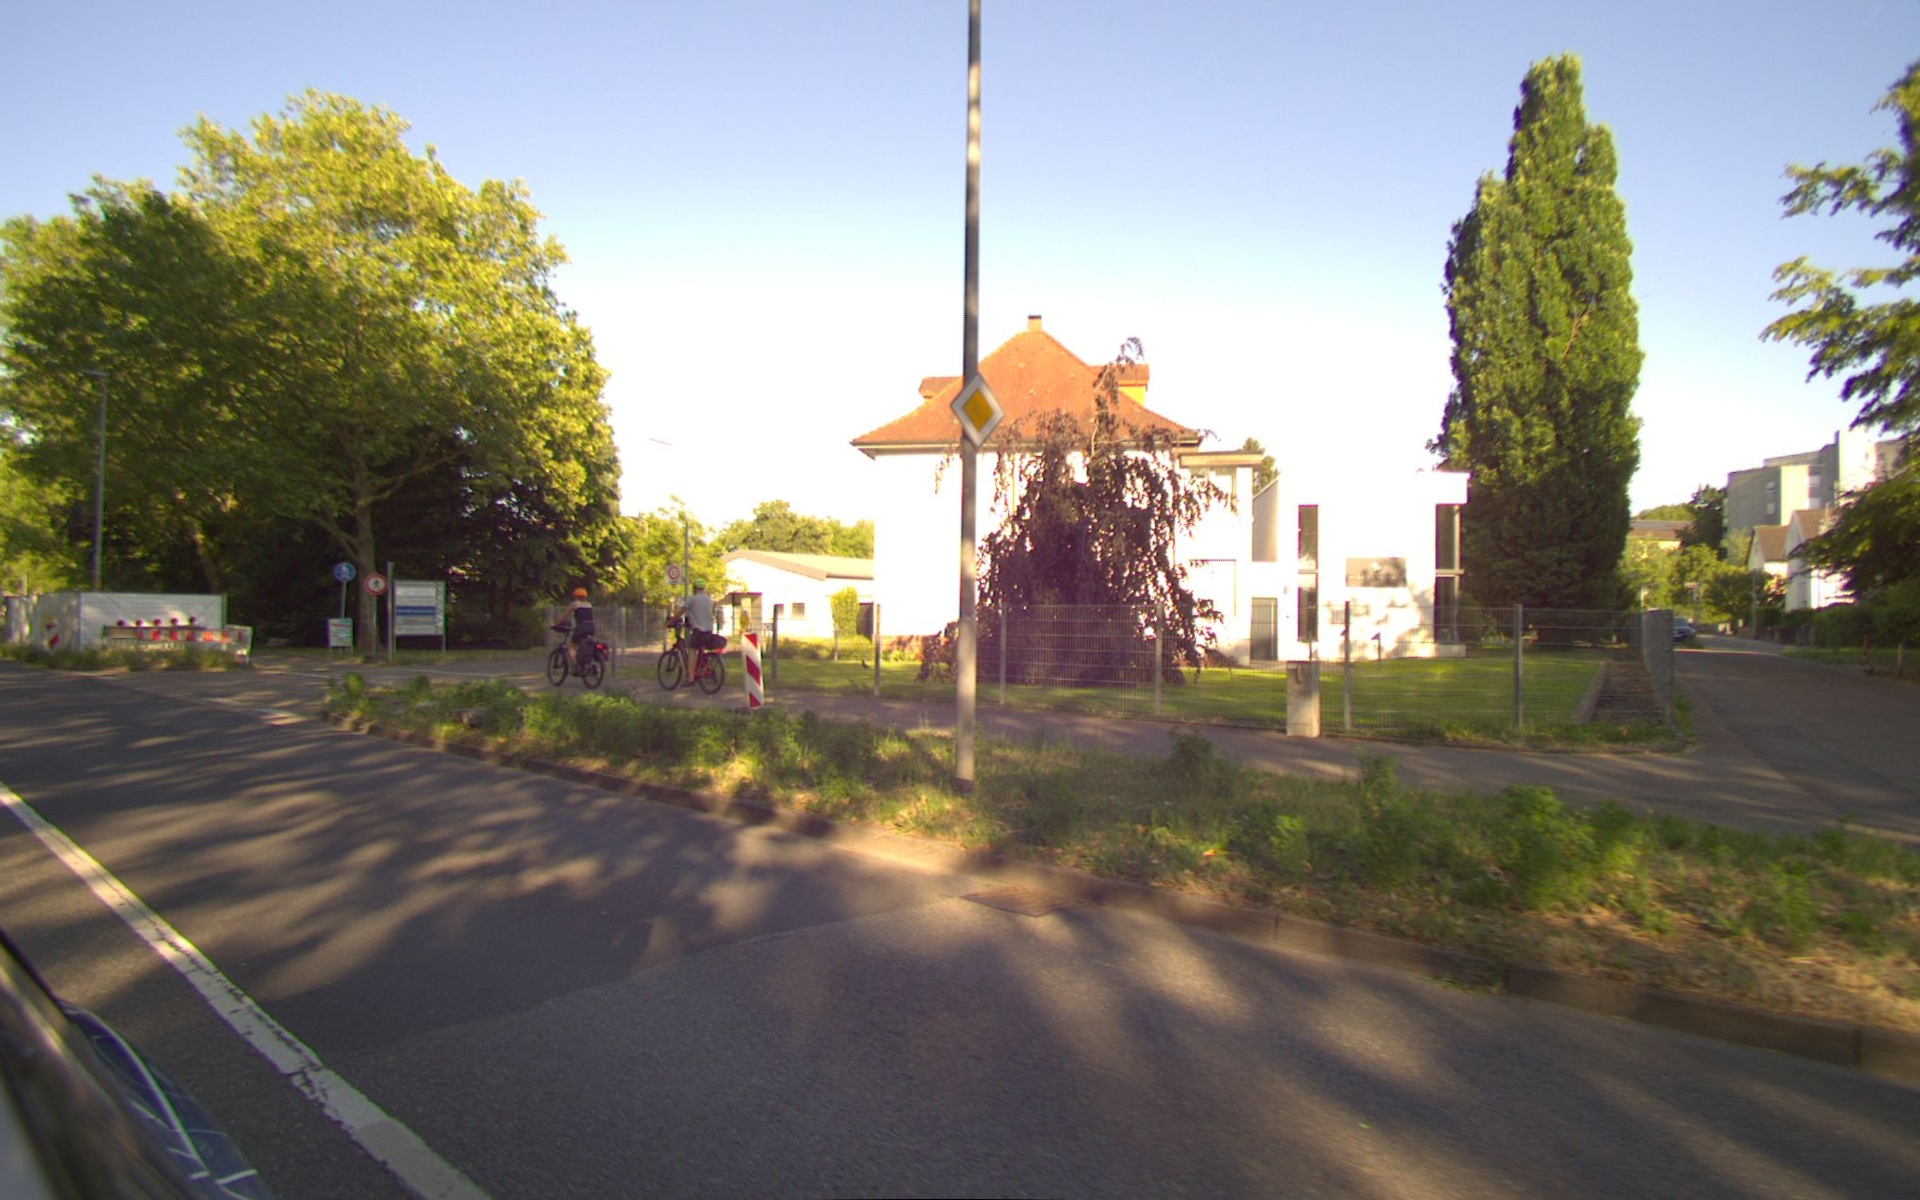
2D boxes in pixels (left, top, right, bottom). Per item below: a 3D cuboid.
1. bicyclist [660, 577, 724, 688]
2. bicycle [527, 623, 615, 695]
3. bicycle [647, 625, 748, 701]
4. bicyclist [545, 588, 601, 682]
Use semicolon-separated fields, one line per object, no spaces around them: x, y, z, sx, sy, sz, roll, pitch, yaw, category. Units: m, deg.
-4.612;0.541;17.390;0.967;1.845;0.573;-1;1;40;bicyclist
-7.219;1.058;18.738;2.106;1.255;0.573;-1;0;40;bicycle
-4.518;1.051;17.335;2.031;1.195;0.573;-1;1;40;bicycle
-7.139;0.630;18.662;0.970;1.692;0.573;-1;0;40;bicyclist
